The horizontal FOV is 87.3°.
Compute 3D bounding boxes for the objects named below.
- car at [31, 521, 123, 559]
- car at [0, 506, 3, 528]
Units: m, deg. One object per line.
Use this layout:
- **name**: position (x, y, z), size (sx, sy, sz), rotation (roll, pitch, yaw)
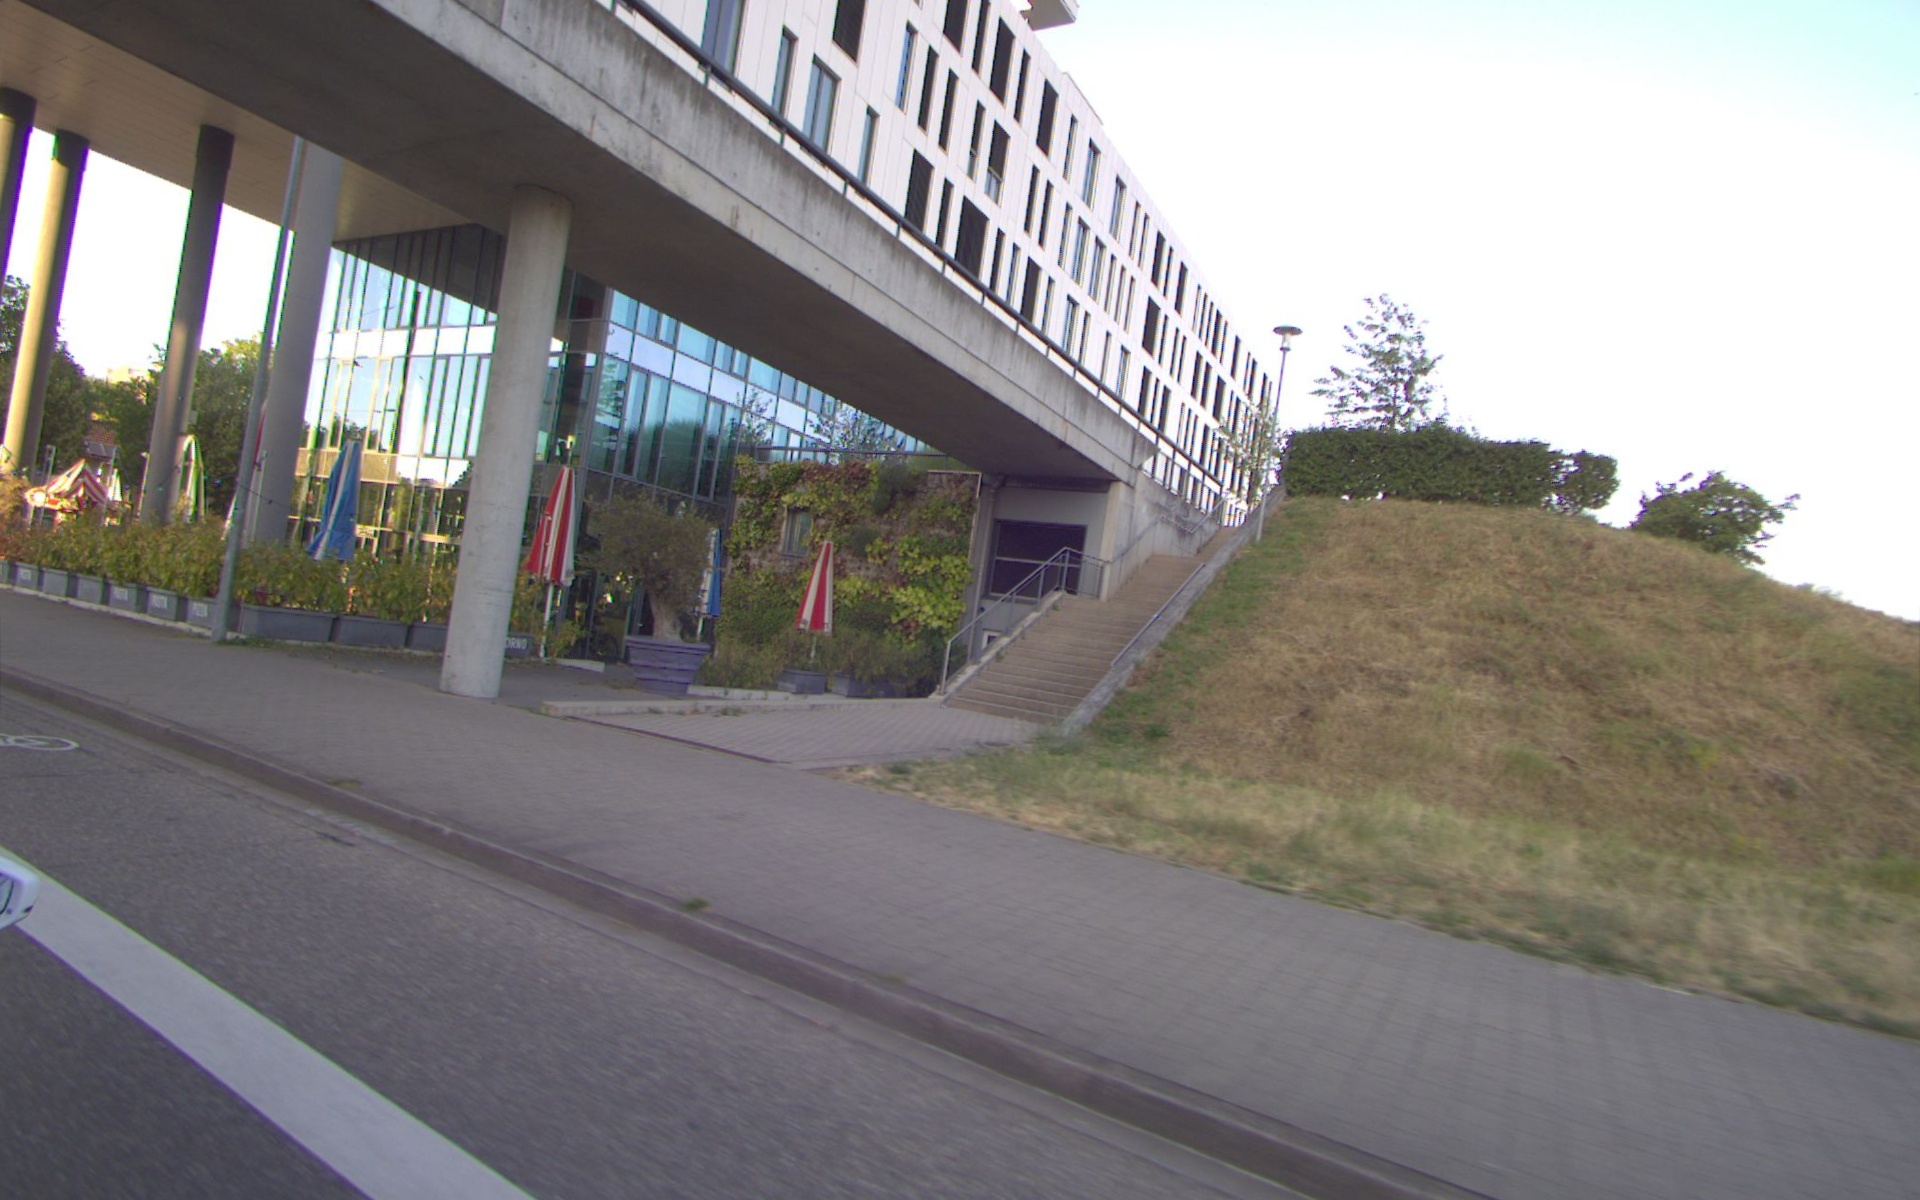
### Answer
- **car**: position (-63.444, -4.260, 72.361), size (1.913, 1.837, 4.476), rotation (8, -2, 33)
- **car**: position (-67.153, -5.818, 67.040), size (1.913, 1.837, 4.476), rotation (8, -2, 33)
